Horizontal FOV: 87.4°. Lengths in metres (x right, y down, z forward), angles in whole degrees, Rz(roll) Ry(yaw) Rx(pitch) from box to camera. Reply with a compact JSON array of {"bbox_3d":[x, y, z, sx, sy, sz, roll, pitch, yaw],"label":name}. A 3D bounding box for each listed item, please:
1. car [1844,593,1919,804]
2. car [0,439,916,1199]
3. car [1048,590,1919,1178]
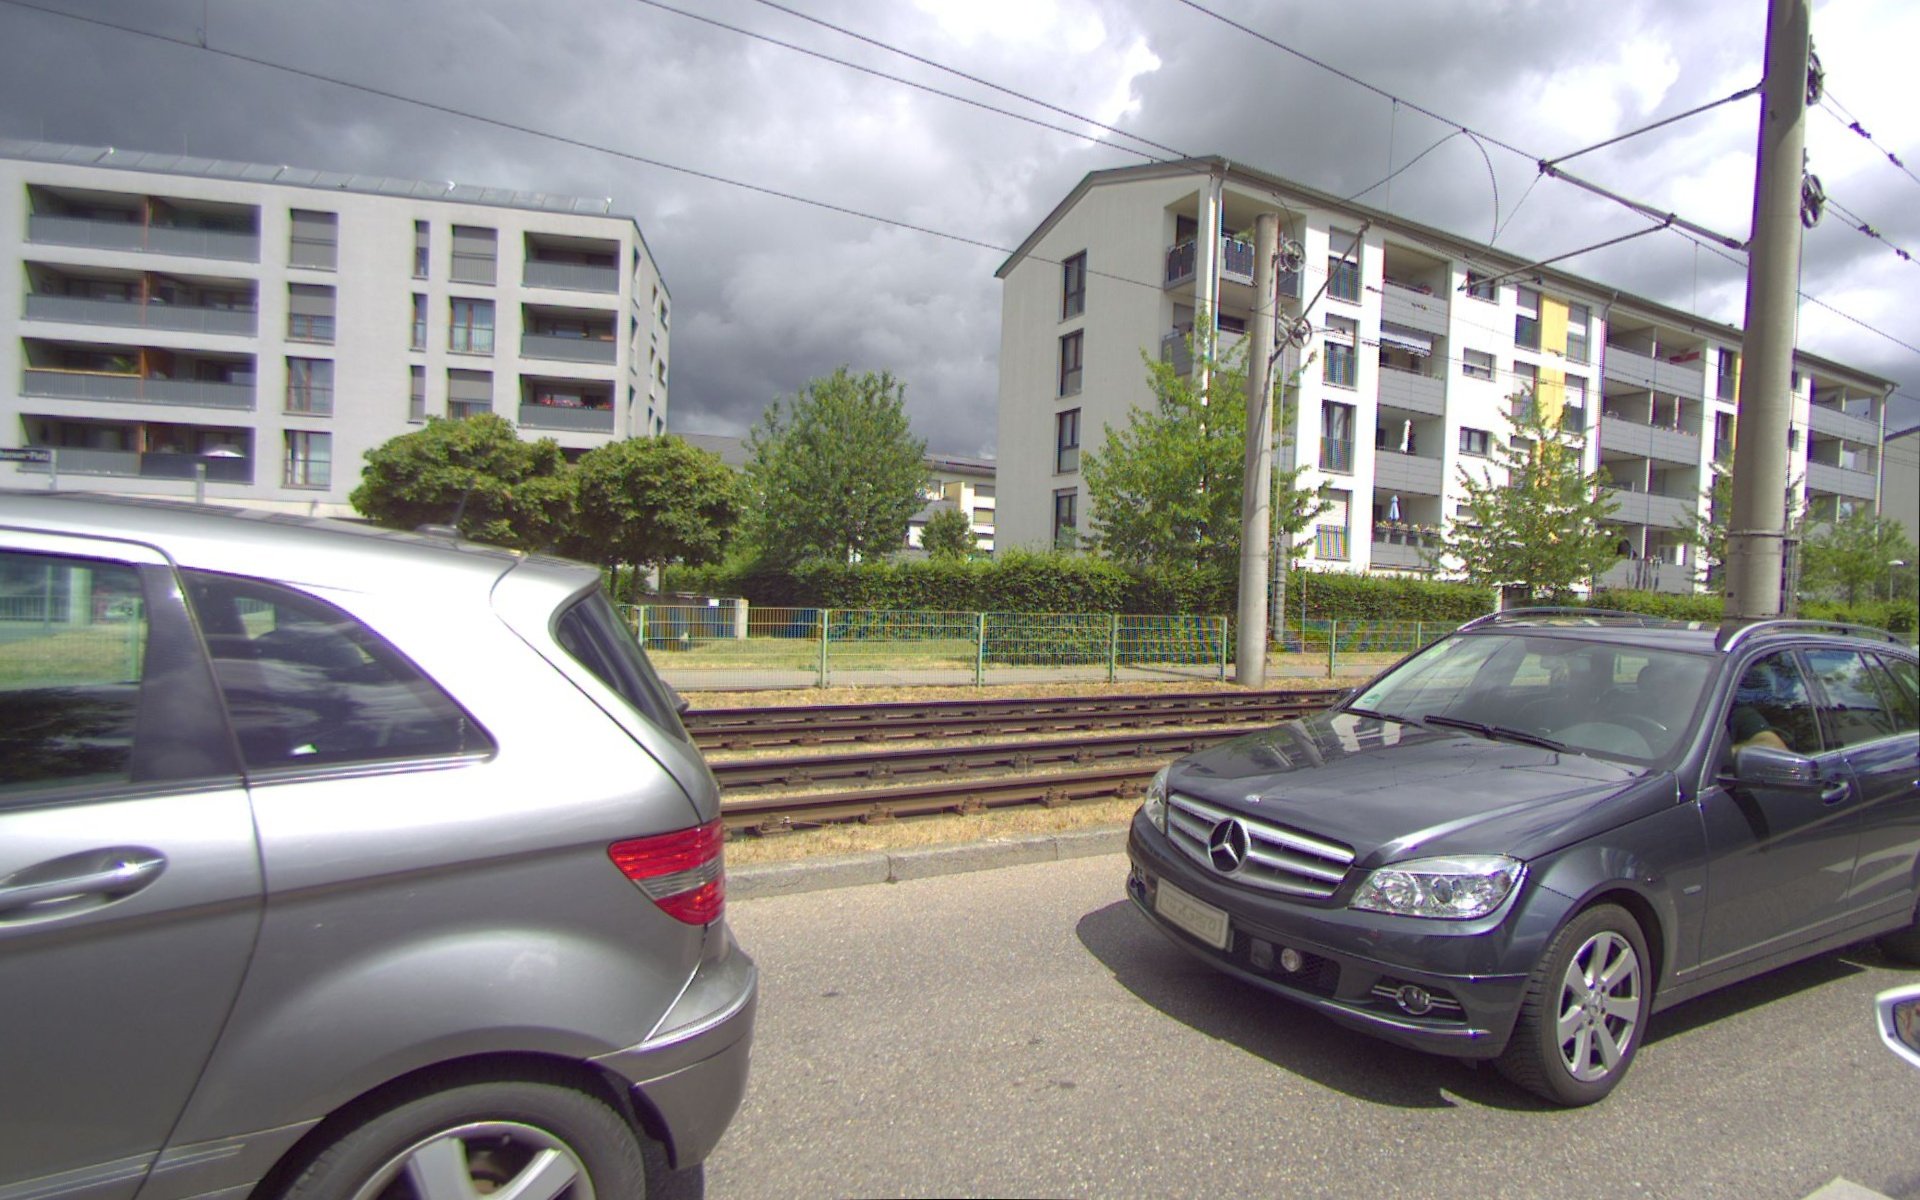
[{"bbox_3d":[9.929,0.874,8.927,4.383,1.713,1.847,2,1,-31],"label":"car"},{"bbox_3d":[-2.353,0.577,1.870,4.123,1.682,1.850,2,1,-28],"label":"car"},{"bbox_3d":[2.735,0.776,4.435,4.411,1.465,1.803,2,1,-29],"label":"car"}]
